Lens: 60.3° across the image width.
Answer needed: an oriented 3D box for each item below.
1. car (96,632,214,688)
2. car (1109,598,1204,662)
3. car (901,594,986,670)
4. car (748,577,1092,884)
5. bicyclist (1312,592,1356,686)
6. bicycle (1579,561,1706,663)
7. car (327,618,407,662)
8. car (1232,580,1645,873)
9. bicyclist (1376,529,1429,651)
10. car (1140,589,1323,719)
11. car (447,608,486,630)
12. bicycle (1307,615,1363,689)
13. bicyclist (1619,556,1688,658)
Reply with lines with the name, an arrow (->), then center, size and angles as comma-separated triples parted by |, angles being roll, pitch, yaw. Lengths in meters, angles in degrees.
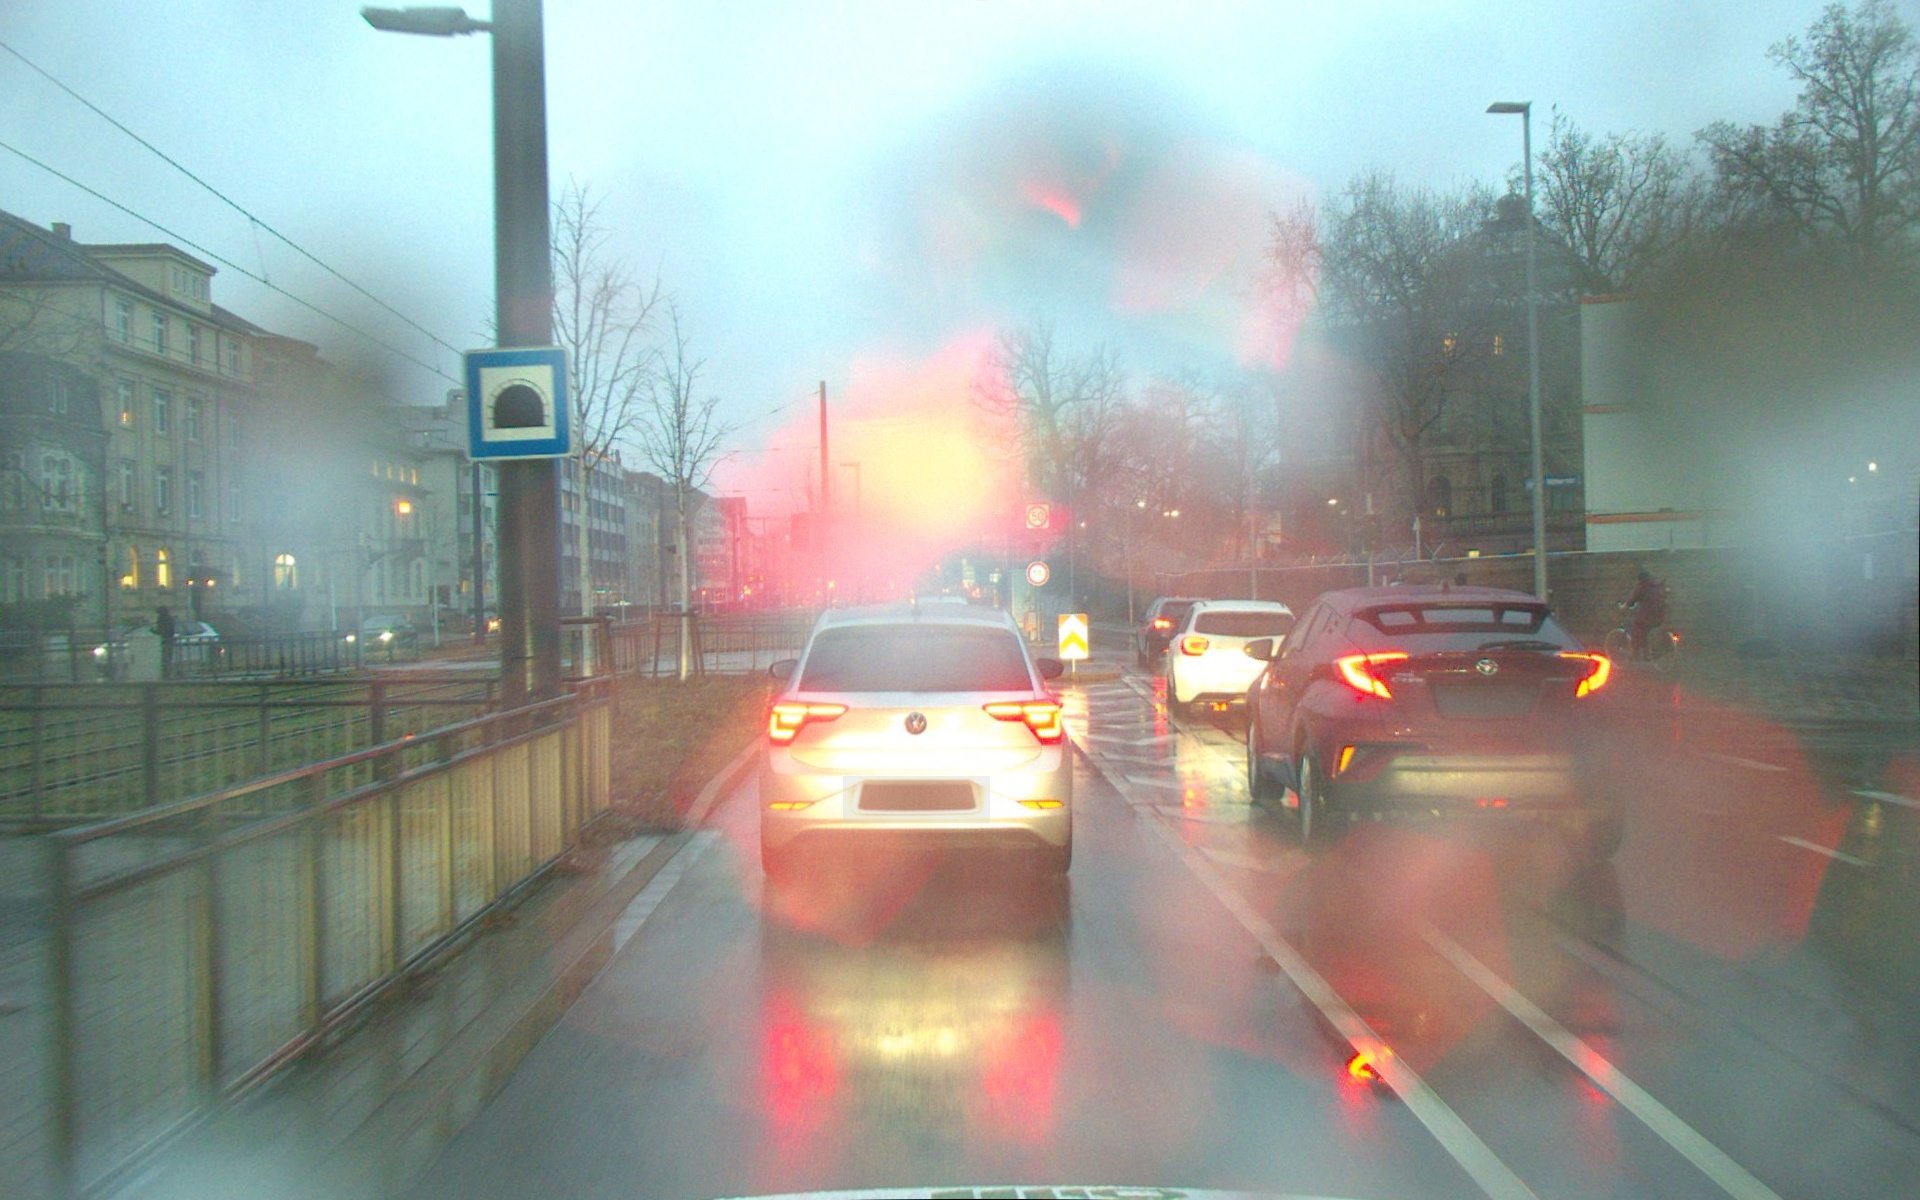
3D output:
car -> -24.615, 1.803, 50.732 | 1.765, 1.613, 3.998 | 1, -1, -2
car -> 4.297, 0.655, 36.641 | 1.590, 1.322, 3.999 | 1, -1, 0
car -> -0.338, 0.656, 35.084 | 1.687, 1.505, 3.999 | 1, -1, 0
car -> -0.202, 0.669, 10.190 | 1.687, 1.505, 3.999 | 1, -1, 0
bicyclist -> 6.535, 0.668, 28.911 | 0.490, 1.619, 0.836 | -1, 0, -4
bicycle -> 11.747, 0.205, 28.567 | 0.678, 1.686, 2.232 | 1, -1, -22
car -> -22.946, 1.518, 64.115 | 1.765, 1.613, 3.998 | 1, -1, -2
car -> 2.815, 0.674, 10.602 | 1.686, 1.505, 4.001 | 0, -1, 3
bicyclist -> 6.685, -0.153, 25.014 | 0.490, 1.798, 0.836 | -1, 0, -4
car -> 3.405, 0.654, 21.400 | 1.687, 1.505, 3.999 | 1, -1, 0
car -> -34.432, 1.316, 115.455 | 1.770, 1.461, 3.924 | -2, 0, -4
bicycle -> 6.540, 0.888, 28.920 | 0.403, 1.206, 1.947 | -1, 0, -3
bicyclist -> 11.850, 0.122, 28.278 | 0.685, 1.708, 0.812 | -1, 0, -21
